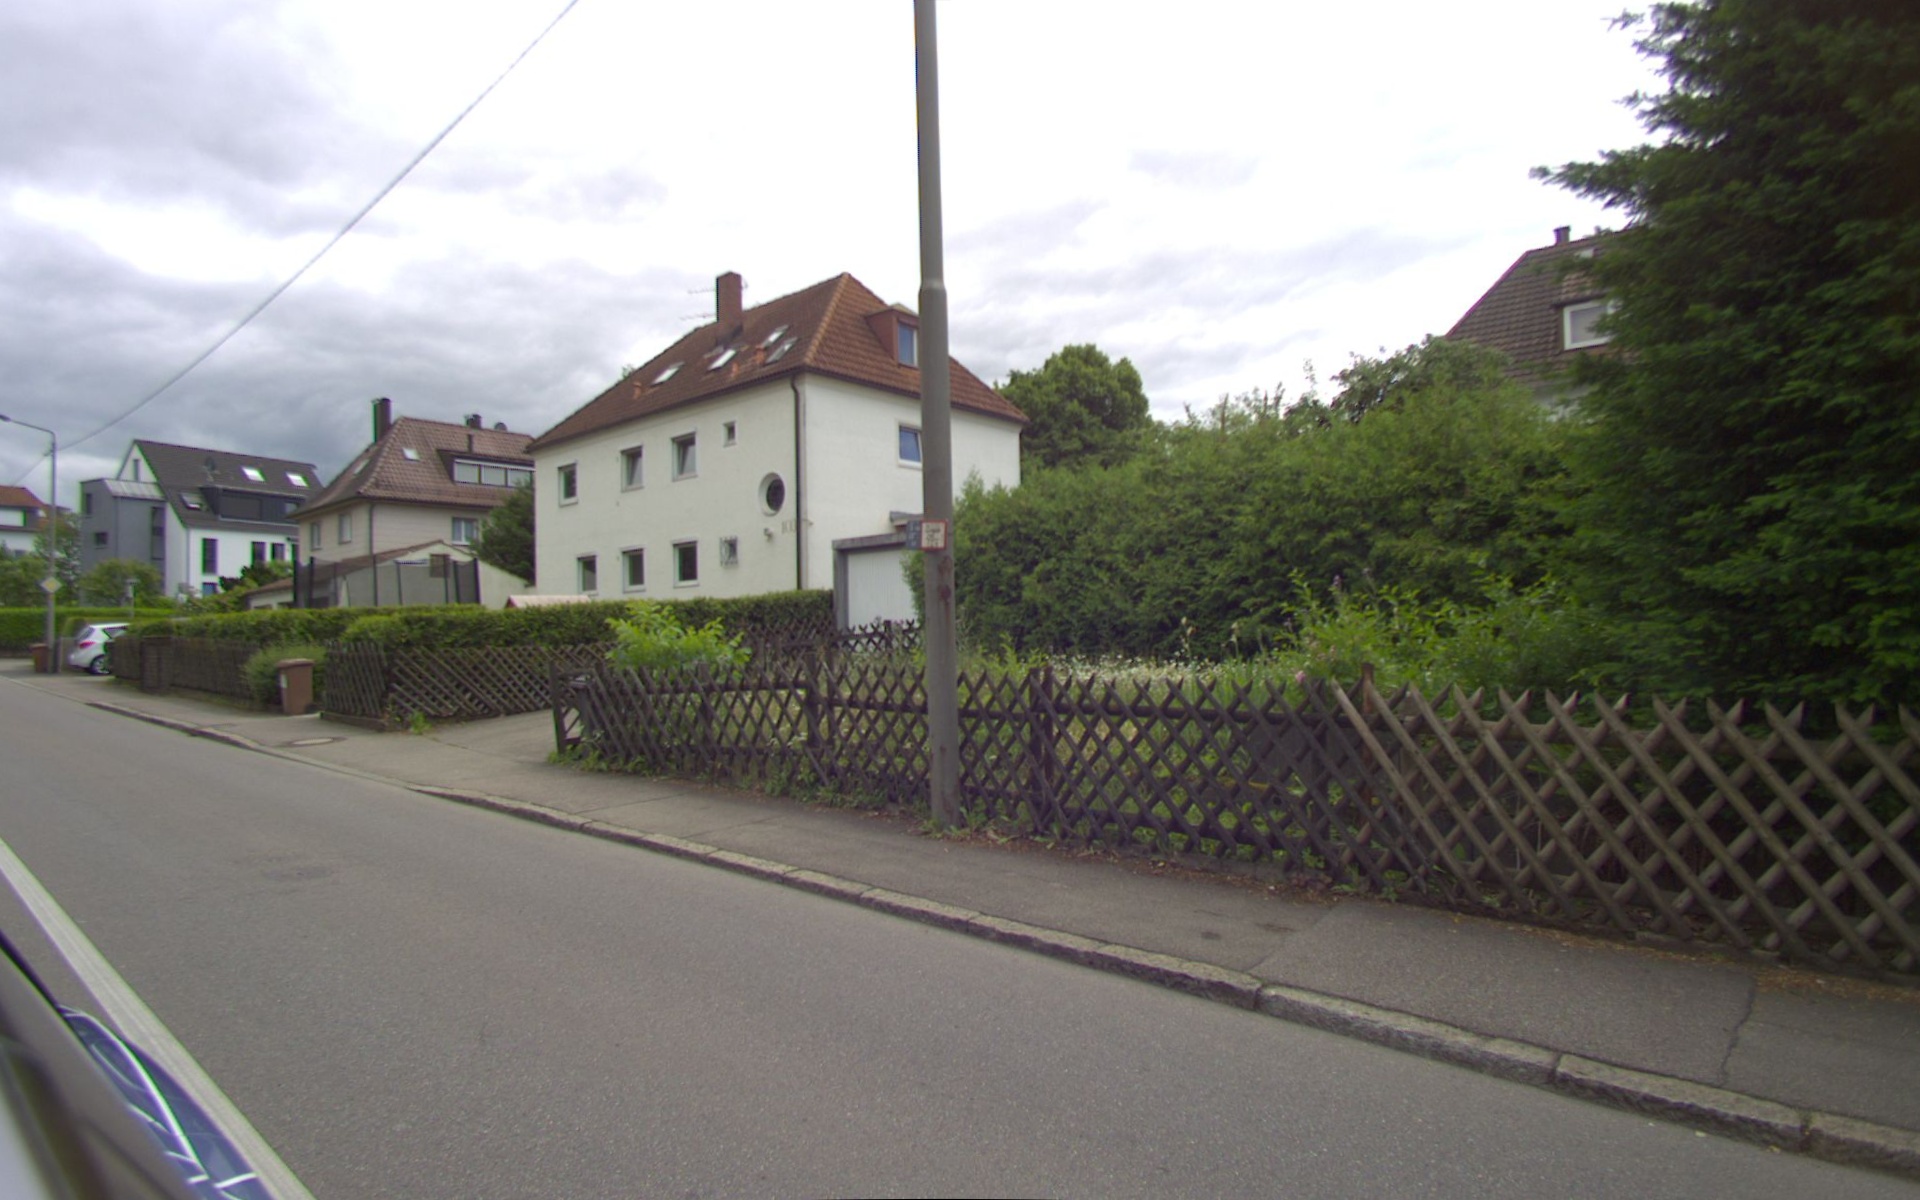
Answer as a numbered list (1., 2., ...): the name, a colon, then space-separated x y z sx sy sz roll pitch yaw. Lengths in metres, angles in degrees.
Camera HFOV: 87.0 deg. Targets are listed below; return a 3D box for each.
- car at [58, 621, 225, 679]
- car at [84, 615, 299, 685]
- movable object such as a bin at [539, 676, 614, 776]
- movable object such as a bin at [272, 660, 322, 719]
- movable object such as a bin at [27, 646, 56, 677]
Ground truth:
1. car: -26.428 1.564 32.759 1.717 1.606 3.946 -2 1 41
2. car: -22.099 1.381 29.277 1.881 1.682 4.624 -2 1 39
3. movable object such as a bin: -3.956 1.283 10.450 0.537 0.945 0.544 -2 -2 43
4. movable object such as a bin: -10.985 1.470 16.771 0.625 0.920 0.561 -1 -1 -39
5. movable object such as a bin: -30.066 2.005 33.135 0.680 0.961 0.572 1 -2 -45
